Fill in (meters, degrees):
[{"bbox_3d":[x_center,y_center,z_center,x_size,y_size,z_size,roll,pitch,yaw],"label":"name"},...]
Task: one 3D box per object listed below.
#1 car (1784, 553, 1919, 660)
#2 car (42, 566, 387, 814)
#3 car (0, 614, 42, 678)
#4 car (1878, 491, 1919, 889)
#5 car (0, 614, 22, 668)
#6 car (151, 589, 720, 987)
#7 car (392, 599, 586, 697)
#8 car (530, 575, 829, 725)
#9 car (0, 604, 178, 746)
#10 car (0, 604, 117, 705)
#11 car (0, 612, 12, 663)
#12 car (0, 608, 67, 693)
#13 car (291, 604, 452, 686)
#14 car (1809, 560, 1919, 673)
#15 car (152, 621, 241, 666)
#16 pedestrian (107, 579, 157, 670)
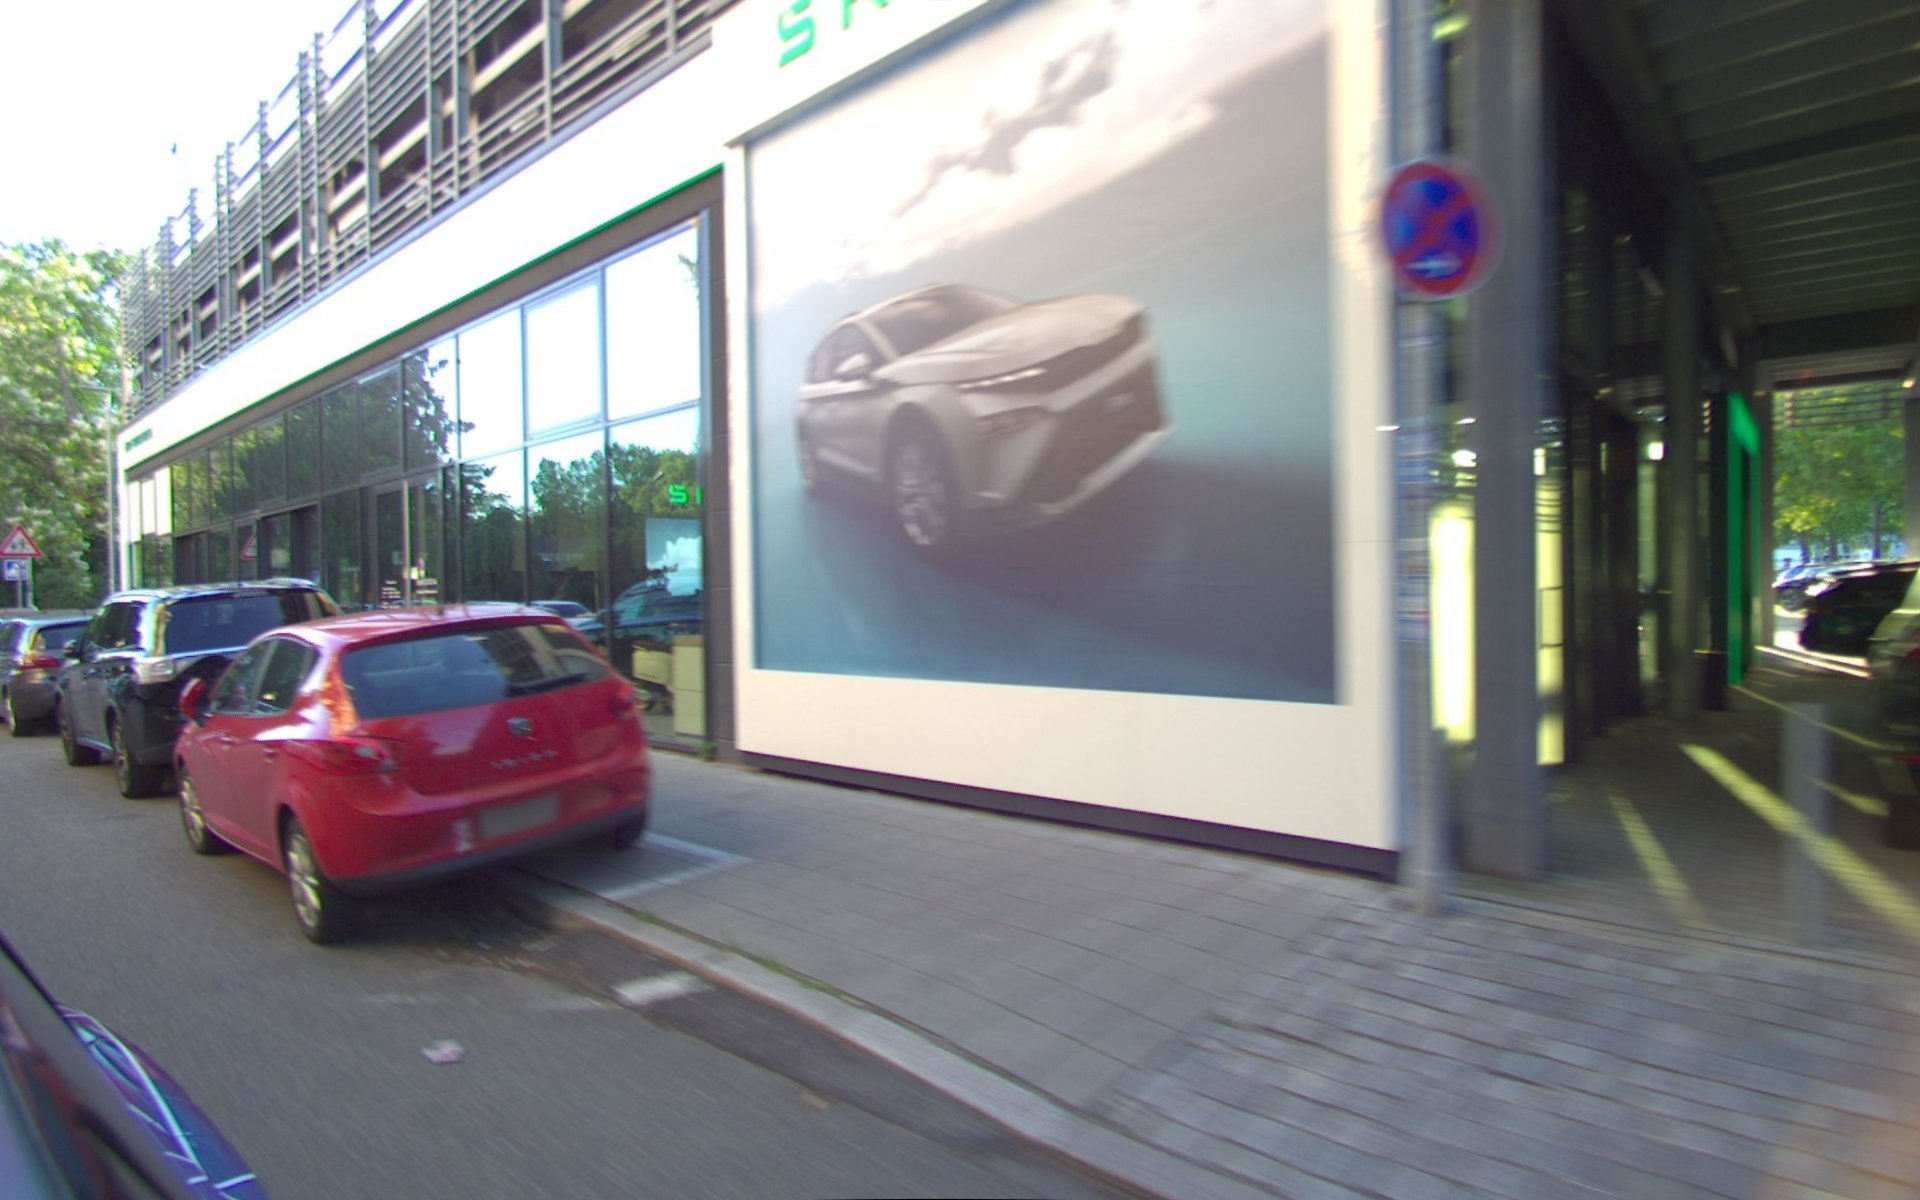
[{"bbox_3d":[15.411,0.064,15.785,3.870,1.629,1.799,-1,1,42],"label":"car"},{"bbox_3d":[-7.018,0.679,9.333,4.401,1.769,1.680,-2,0,42],"label":"car"},{"bbox_3d":[-23.932,1.163,24.626,3.922,1.421,1.646,-2,5,39],"label":"car"},{"bbox_3d":[6.034,0.327,5.222,1.860,1.696,3.999,-2,-1,42],"label":"car"},{"bbox_3d":[-27.986,1.218,28.549,4.411,1.426,1.645,-2,5,41],"label":"car"},{"bbox_3d":[-3.187,0.752,5.793,3.790,1.517,1.679,-2,0,42],"label":"car"},{"bbox_3d":[-8.434,0.802,17.970,3.992,1.526,1.679,-2,0,42],"label":"car"},{"bbox_3d":[-3.828,0.594,13.361,4.408,1.671,1.680,-2,0,42],"label":"car"},{"bbox_3d":[-12.181,0.934,13.679,4.205,1.609,1.916,-2,-1,44],"label":"car"},{"bbox_3d":[-16.069,0.909,17.360,4.004,1.412,1.712,-2,5,41],"label":"car"},{"bbox_3d":[-31.315,1.262,31.656,3.876,1.525,1.647,-2,3,36],"label":"car"},{"bbox_3d":[-19.476,1.021,20.425,3.884,1.508,1.645,-1,5,43],"label":"car"},{"bbox_3d":[-12.389,0.892,21.194,4.190,1.526,1.680,-2,0,42],"label":"car"},{"bbox_3d":[13.880,0.183,13.477,3.870,1.464,1.799,-1,1,42],"label":"car"},{"bbox_3d":[-24.296,1.357,32.168,3.449,1.303,1.576,-2,0,41],"label":"car"},{"bbox_3d":[-17.654,0.506,21.578,0.620,1.892,0.713,-2,-1,43],"label":"pedestrian"}]
